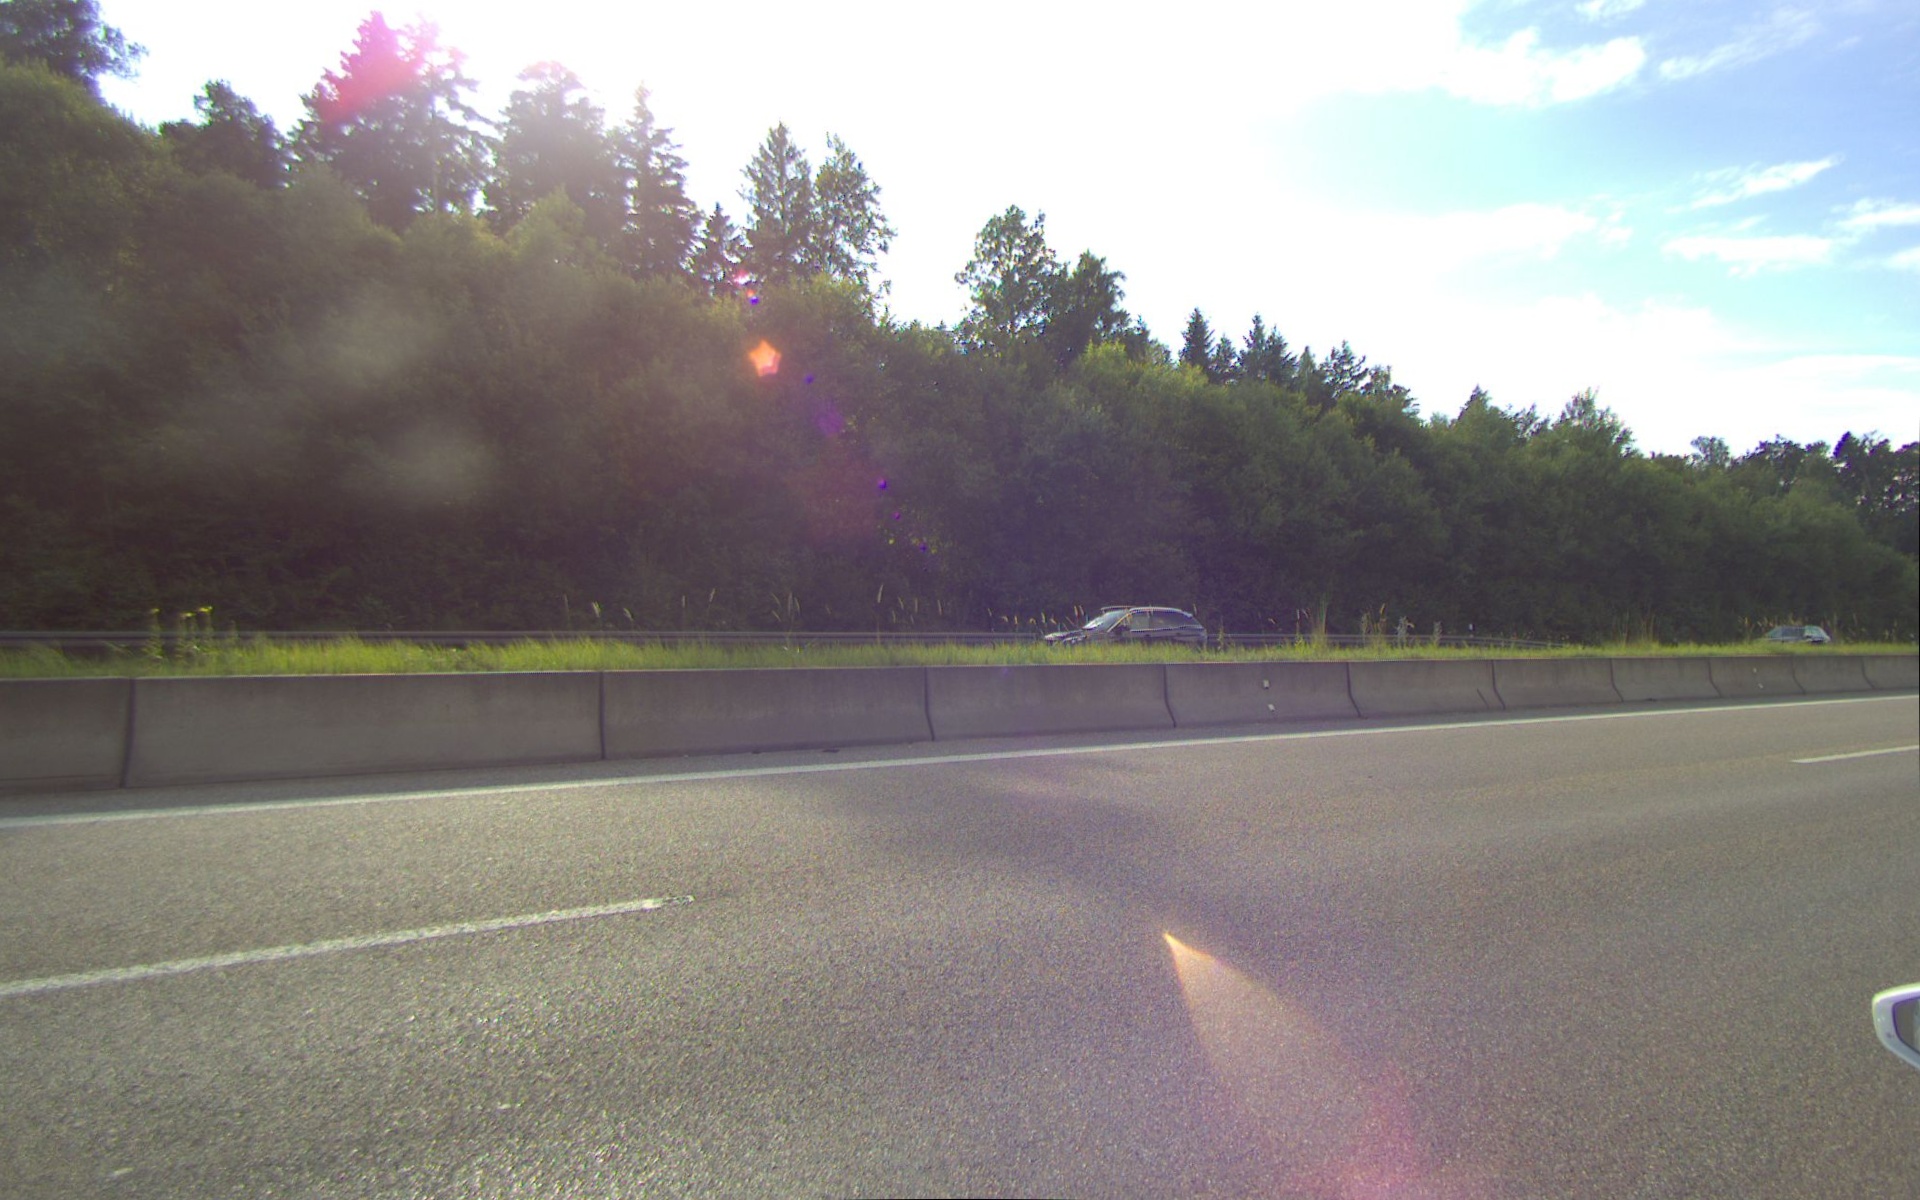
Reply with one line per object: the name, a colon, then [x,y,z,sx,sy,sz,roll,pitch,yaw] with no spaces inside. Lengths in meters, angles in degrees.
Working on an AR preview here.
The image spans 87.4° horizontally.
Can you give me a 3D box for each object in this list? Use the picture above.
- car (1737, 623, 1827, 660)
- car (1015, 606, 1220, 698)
car: [39.272,1.947,47.963,4.516,1.649,1.871,1,0,-30]
car: [3.625,1.129,22.959,4.385,1.906,1.984,1,0,-30]
